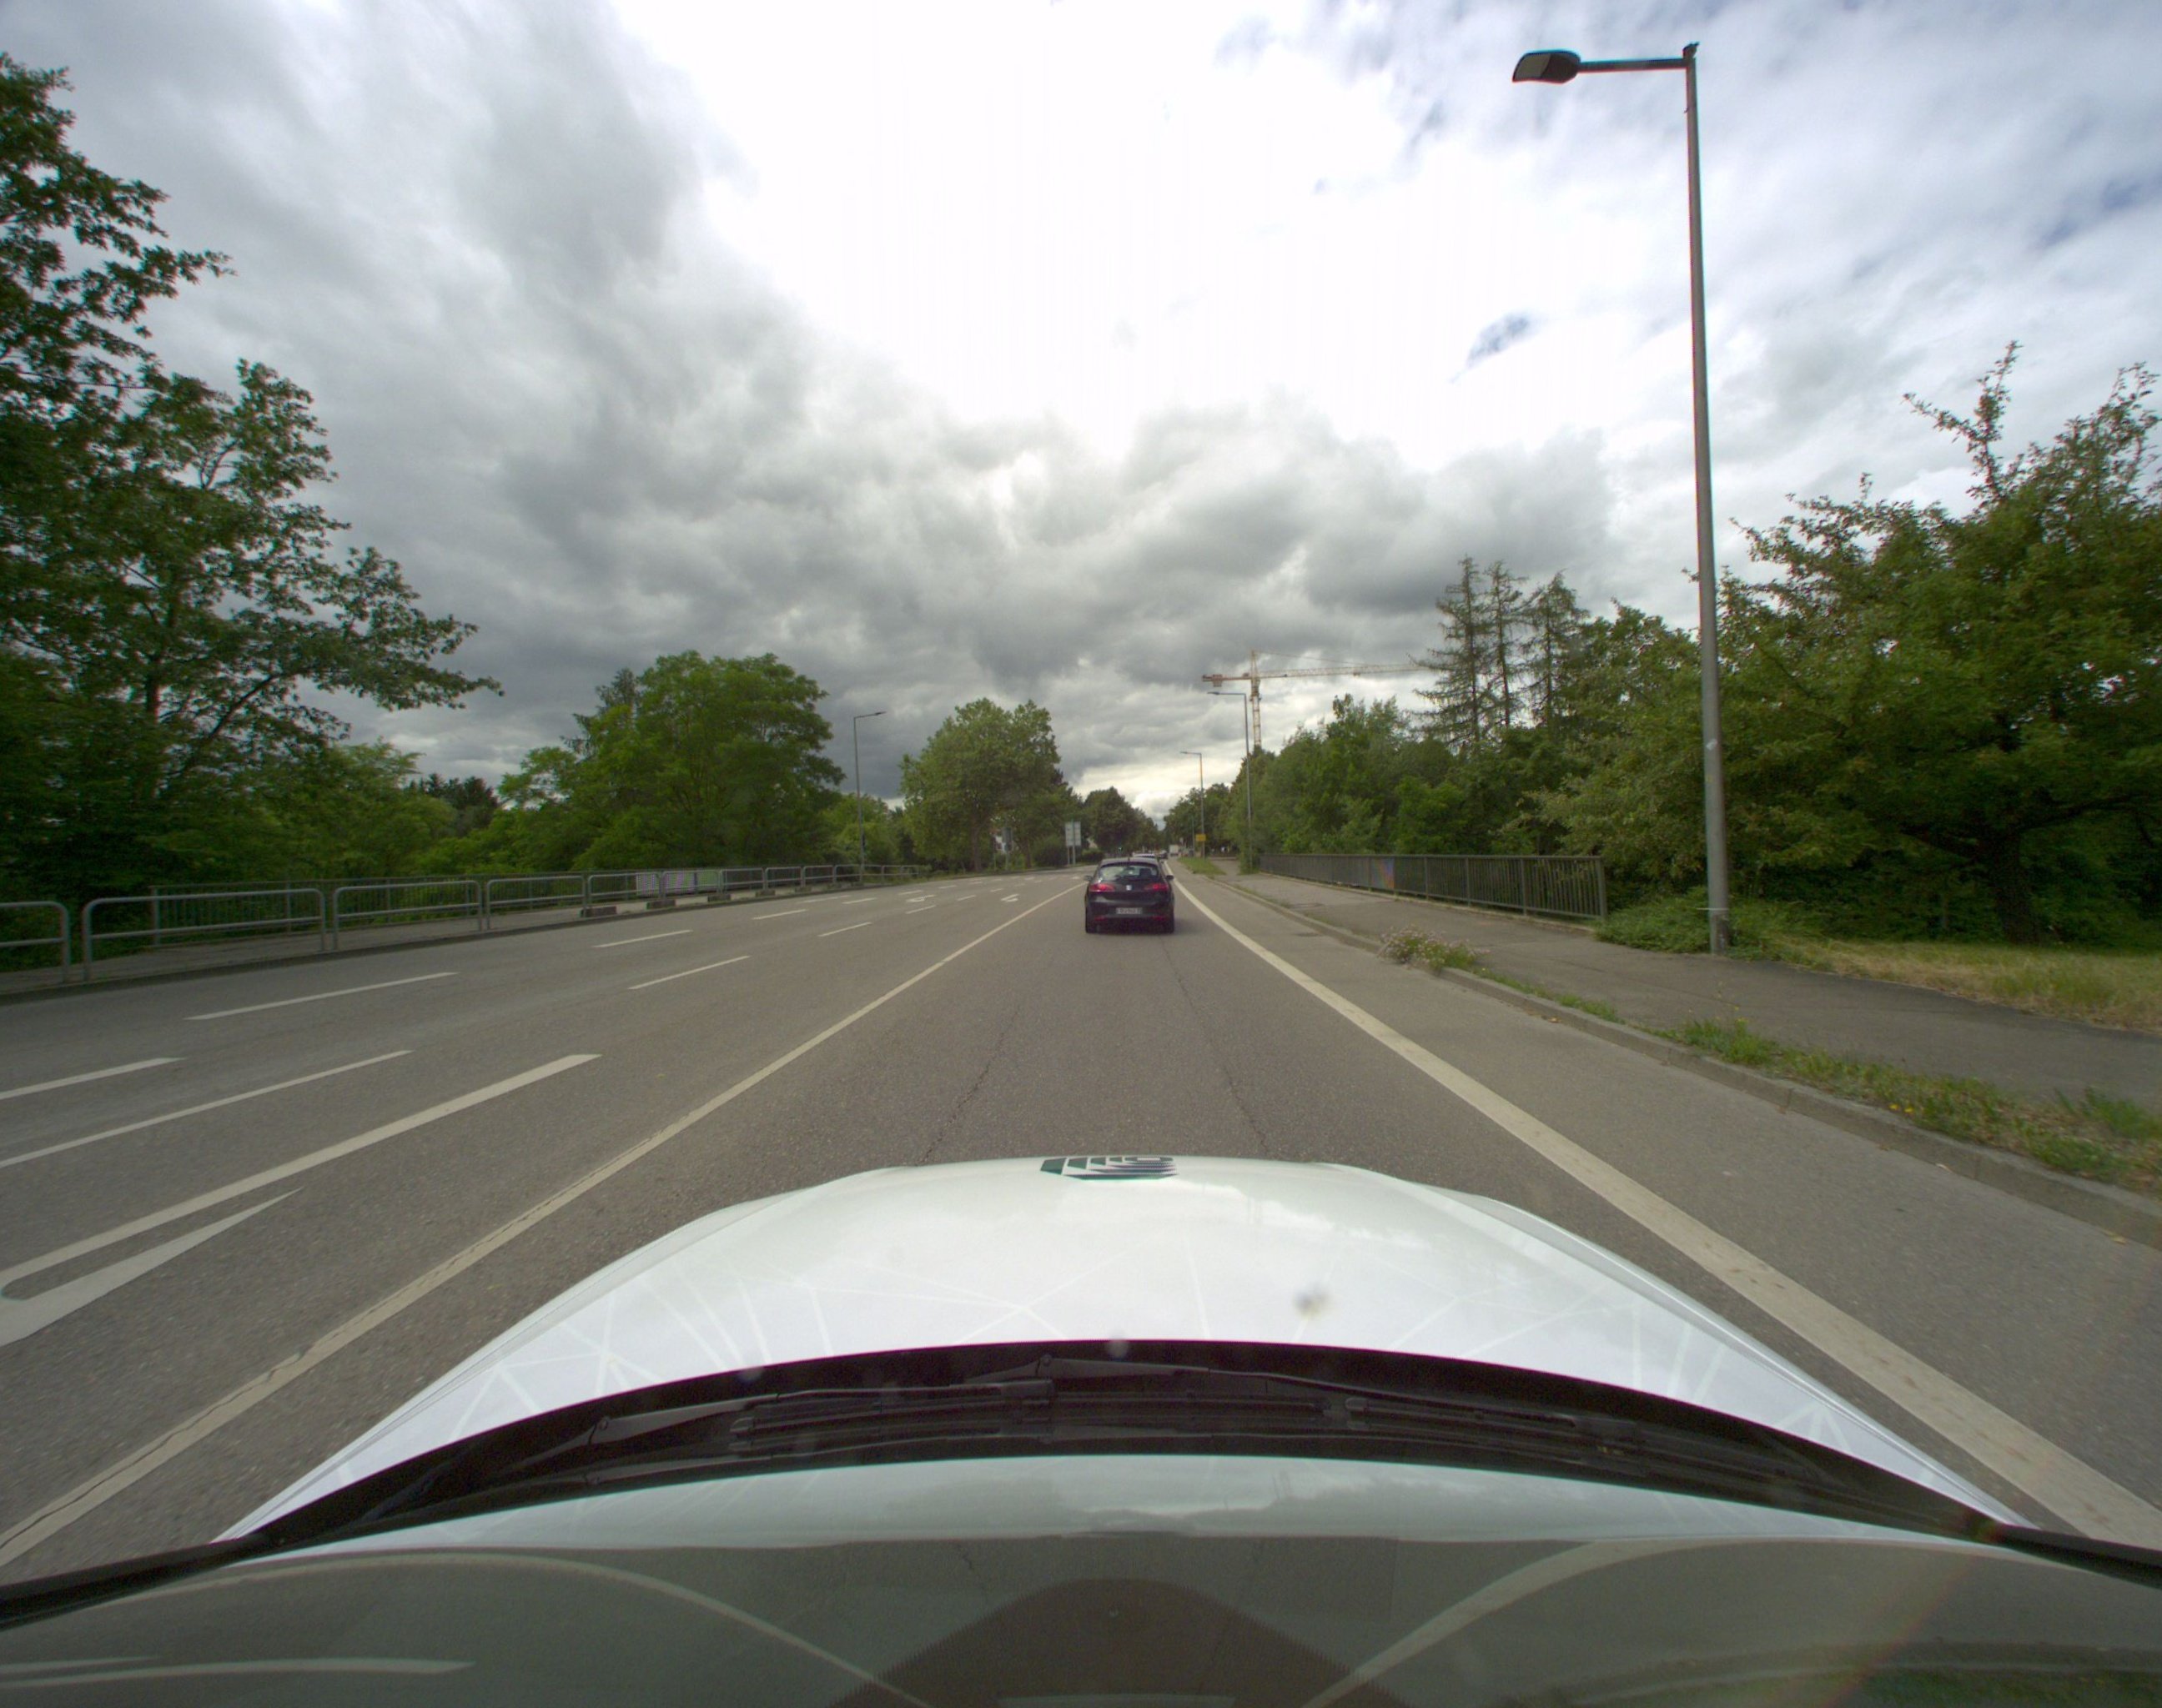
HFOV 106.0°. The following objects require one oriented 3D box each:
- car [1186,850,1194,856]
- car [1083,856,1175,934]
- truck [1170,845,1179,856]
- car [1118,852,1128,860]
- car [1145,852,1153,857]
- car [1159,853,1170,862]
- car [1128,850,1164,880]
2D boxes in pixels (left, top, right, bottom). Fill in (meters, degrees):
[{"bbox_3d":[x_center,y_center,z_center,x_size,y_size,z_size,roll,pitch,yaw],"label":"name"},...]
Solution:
[{"bbox_3d":[25.104,-0.212,187.654,1.679,1.490,3.362,-2,0,8],"label":"car"},{"bbox_3d":[0.957,0.752,16.802,1.656,1.401,3.814,-1,0,2],"label":"car"},{"bbox_3d":[25.639,-0.940,223.428,2.267,3.104,8.527,0,0,7],"label":"truck"},{"bbox_3d":[8.560,0.368,165.942,1.709,1.395,4.811,-4,0,8],"label":"car"},{"bbox_3d":[21.079,0.077,251.490,2.088,1.506,5.796,-4,0,8],"label":"car"},{"bbox_3d":[15.500,0.632,150.552,1.871,1.689,4.223,-2,0,8],"label":"car"},{"bbox_3d":[3.542,0.583,43.855,1.836,1.510,3.818,-1,0,6],"label":"car"}]
